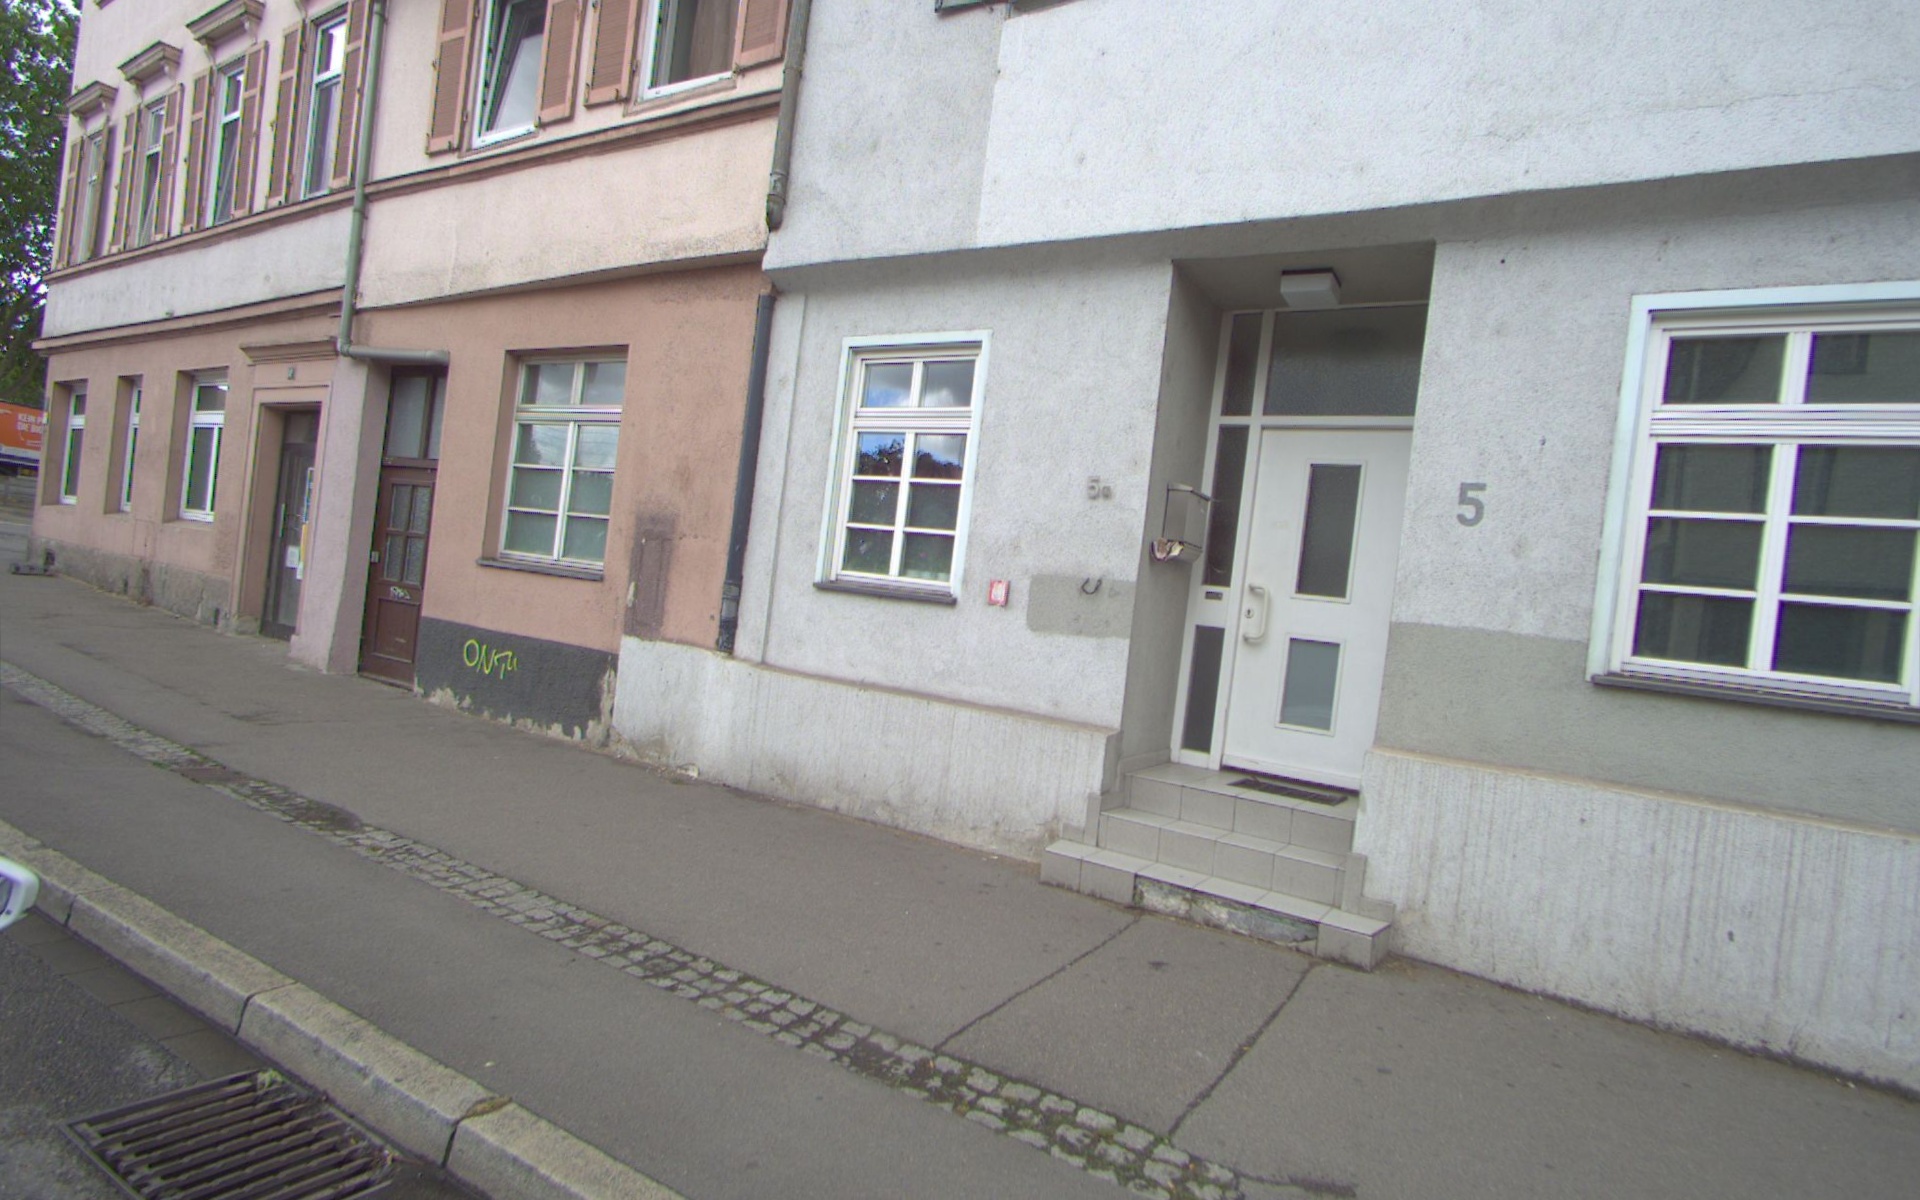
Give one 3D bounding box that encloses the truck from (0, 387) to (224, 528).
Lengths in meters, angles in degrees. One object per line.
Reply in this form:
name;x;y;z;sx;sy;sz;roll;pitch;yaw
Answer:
truck;-32.286;-5.195;35.501;2.230;3.740;10.217;7;-1;23
